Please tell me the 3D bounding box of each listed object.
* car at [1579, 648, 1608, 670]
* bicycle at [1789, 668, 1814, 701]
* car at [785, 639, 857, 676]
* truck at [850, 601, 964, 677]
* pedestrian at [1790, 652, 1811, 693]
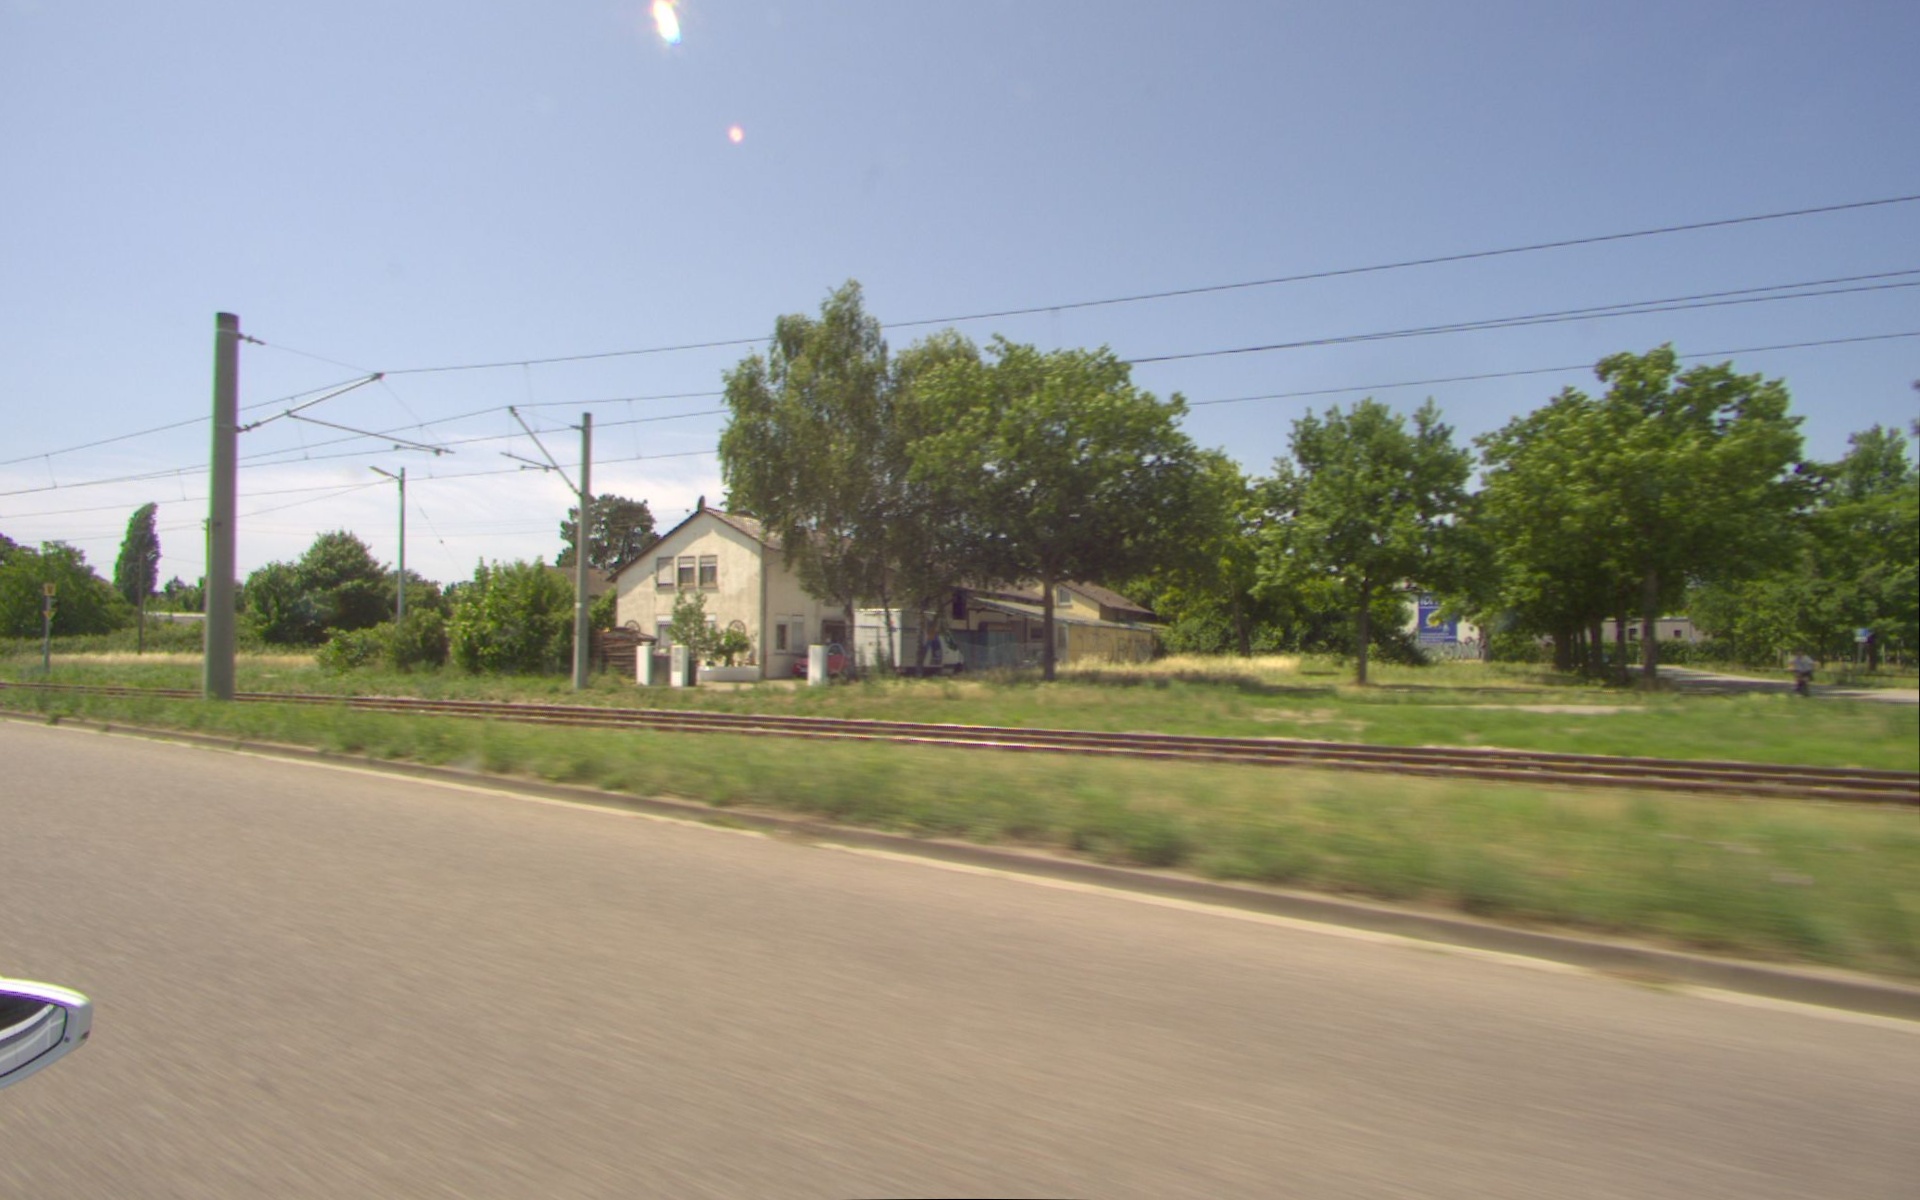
[{"bbox_3d":[62.735,5.849,99.228,1.968,2.037,3.991,-1,-5,26],"label":"car"},{"bbox_3d":[29.629,2.957,35.267,0.425,1.133,1.574,0,-3,31],"label":"bicycle"},{"bbox_3d":[-6.044,2.514,43.958,1.654,1.528,3.439,0,-3,22],"label":"car"},{"bbox_3d":[-2.040,1.569,40.931,2.282,2.879,5.844,-1,-2,24],"label":"truck"},{"bbox_3d":[29.610,2.551,35.283,0.451,1.421,0.582,0,-2,29],"label":"pedestrian"}]
